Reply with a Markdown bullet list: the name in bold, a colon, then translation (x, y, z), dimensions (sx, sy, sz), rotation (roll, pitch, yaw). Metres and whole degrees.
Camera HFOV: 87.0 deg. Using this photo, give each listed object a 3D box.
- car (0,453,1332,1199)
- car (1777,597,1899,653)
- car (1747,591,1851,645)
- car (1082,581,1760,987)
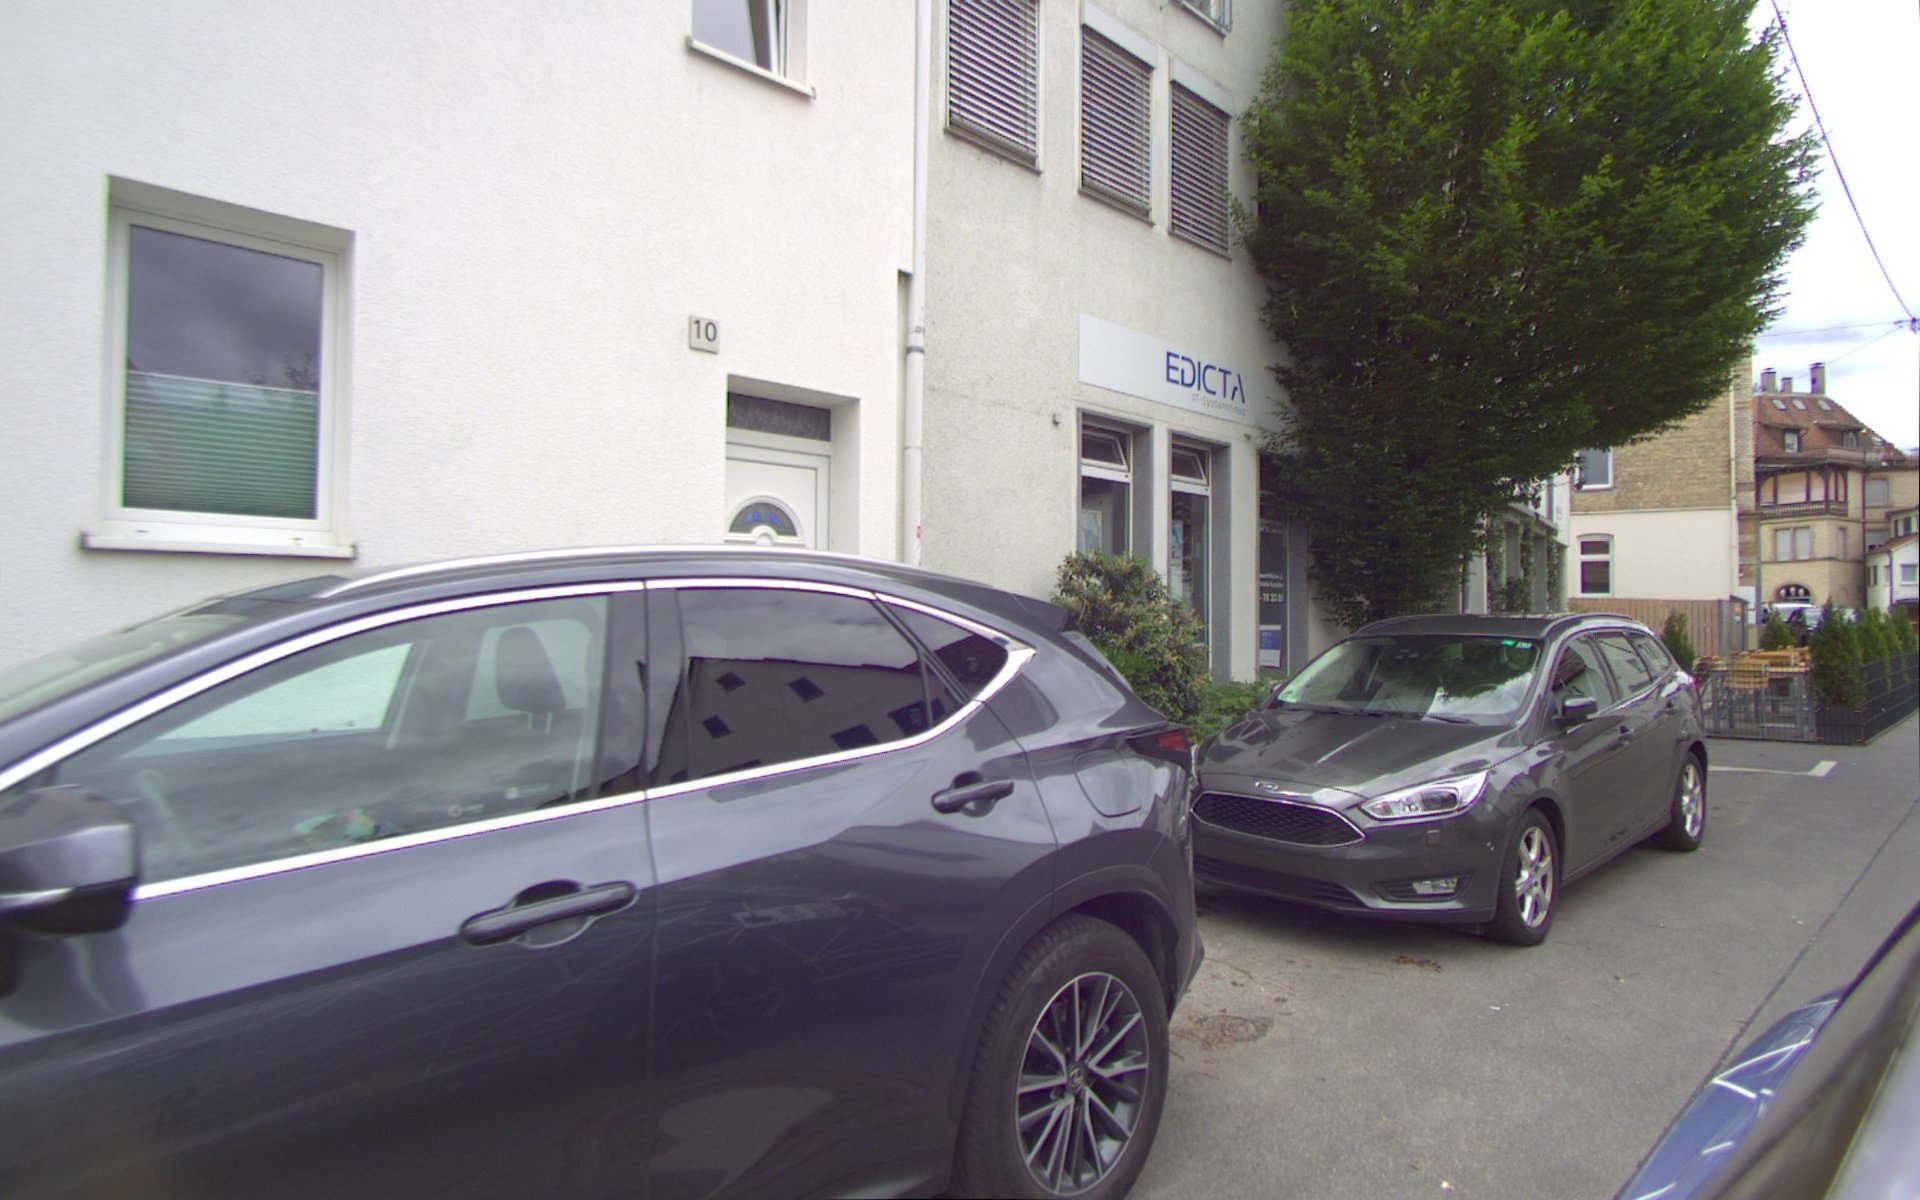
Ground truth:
- **car**: translation (-1.267, 0.670, 2.145), dimensions (4.818, 1.654, 1.865), rotation (0, 0, -43)
- **car**: translation (27.441, 0.755, 31.796), dimensions (1.776, 1.621, 4.500), rotation (-1, -1, 27)
- **car**: translation (29.792, 0.638, 36.066), dimensions (1.812, 1.815, 4.181), rotation (-1, -1, 25)
- **car**: translation (3.060, 0.705, 6.125), dimensions (4.736, 1.527, 1.951), rotation (0, -1, -41)
